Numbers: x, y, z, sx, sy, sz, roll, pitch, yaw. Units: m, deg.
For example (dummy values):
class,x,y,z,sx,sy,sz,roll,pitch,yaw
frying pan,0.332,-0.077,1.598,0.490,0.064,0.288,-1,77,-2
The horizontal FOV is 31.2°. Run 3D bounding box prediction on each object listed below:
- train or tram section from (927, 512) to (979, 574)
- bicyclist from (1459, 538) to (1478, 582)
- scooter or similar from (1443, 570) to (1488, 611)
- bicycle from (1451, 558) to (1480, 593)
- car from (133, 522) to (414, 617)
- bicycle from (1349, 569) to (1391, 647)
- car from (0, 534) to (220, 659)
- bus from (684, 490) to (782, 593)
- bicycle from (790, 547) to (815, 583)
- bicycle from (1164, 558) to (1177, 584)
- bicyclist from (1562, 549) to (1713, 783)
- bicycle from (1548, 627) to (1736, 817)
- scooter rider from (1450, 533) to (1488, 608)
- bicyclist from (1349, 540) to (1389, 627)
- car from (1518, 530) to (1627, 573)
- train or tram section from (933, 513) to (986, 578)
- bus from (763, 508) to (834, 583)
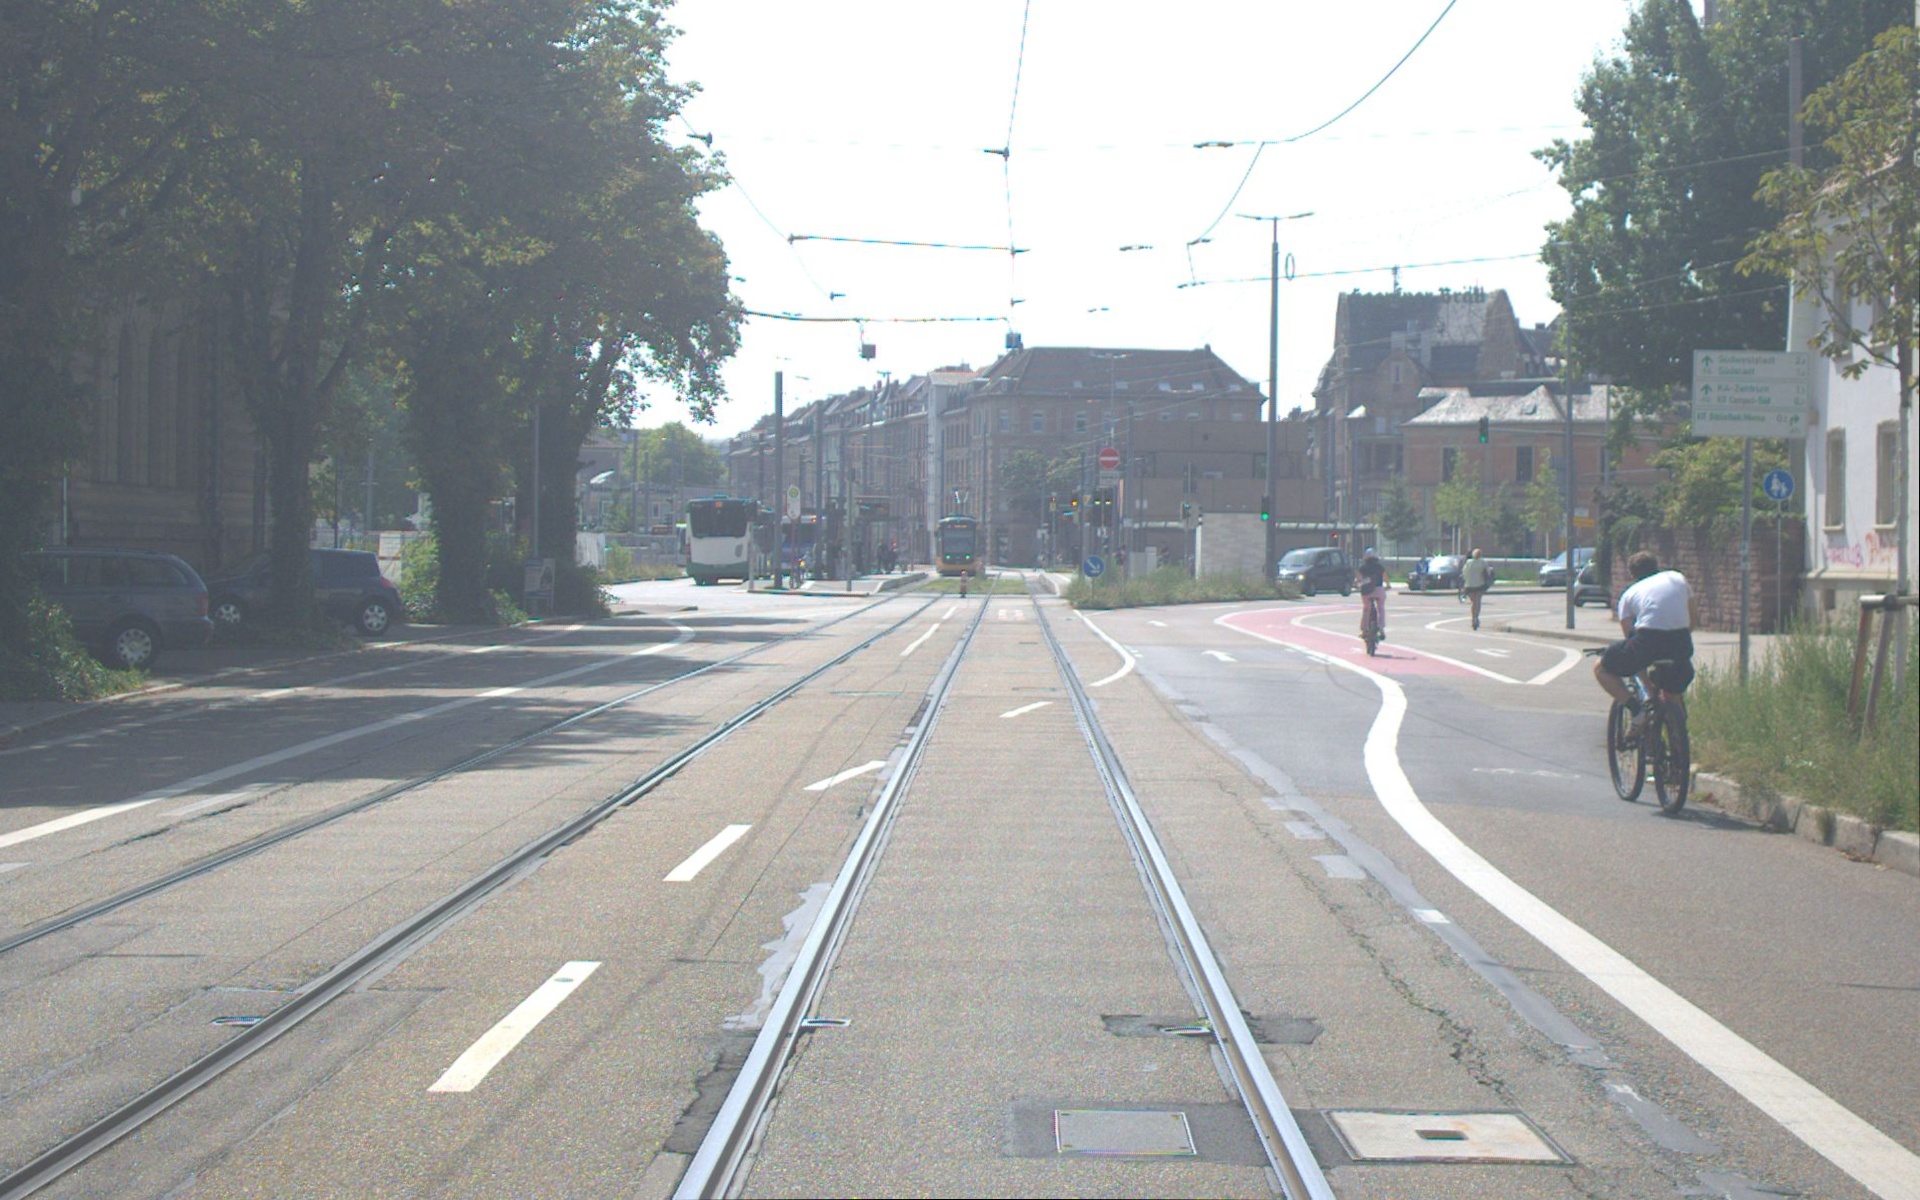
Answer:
class,x,y,z,sx,sy,sz,roll,pitch,yaw
train or tram section,-0.358,-3.417,207.121,2.856,3.536,17.743,1,1,1
bicyclist,16.306,-1.275,110.285,0.450,1.416,0.495,1,1,28
scooter or similar,11.968,-0.225,81.358,0.773,0.923,1.619,2,1,18
bicycle,16.191,-0.777,110.092,0.445,1.113,1.444,1,1,28
car,-11.310,-0.500,56.747,4.151,1.491,1.821,0,1,-36
bicycle,6.370,0.114,53.471,0.604,1.159,1.810,1,1,6
car,-11.391,-0.063,41.645,4.414,1.457,1.821,1,1,-25
bus,-8.723,-2.255,133.292,2.958,3.762,10.597,1,1,0
bicycle,-5.492,-1.219,119.925,0.607,1.218,1.705,1,1,5
bicycle,8.424,-1.170,137.755,0.464,1.029,1.548,1,1,3
bicyclist,4.213,0.397,21.419,0.745,1.407,0.962,1,1,2
bicycle,4.197,0.725,21.317,0.739,1.045,2.233,1,1,1
scooter rider,12.098,-0.702,81.708,0.762,1.769,0.554,1,1,19
bicyclist,6.367,-0.260,53.497,0.603,1.330,0.659,1,1,7
car,23.807,-1.871,133.492,4.661,1.605,1.777,0,1,-44
train or tram section,0.037,-3.553,225.592,2.886,4.054,19.141,1,1,1
bus,-8.328,-2.824,178.638,2.710,3.714,10.418,1,1,2
